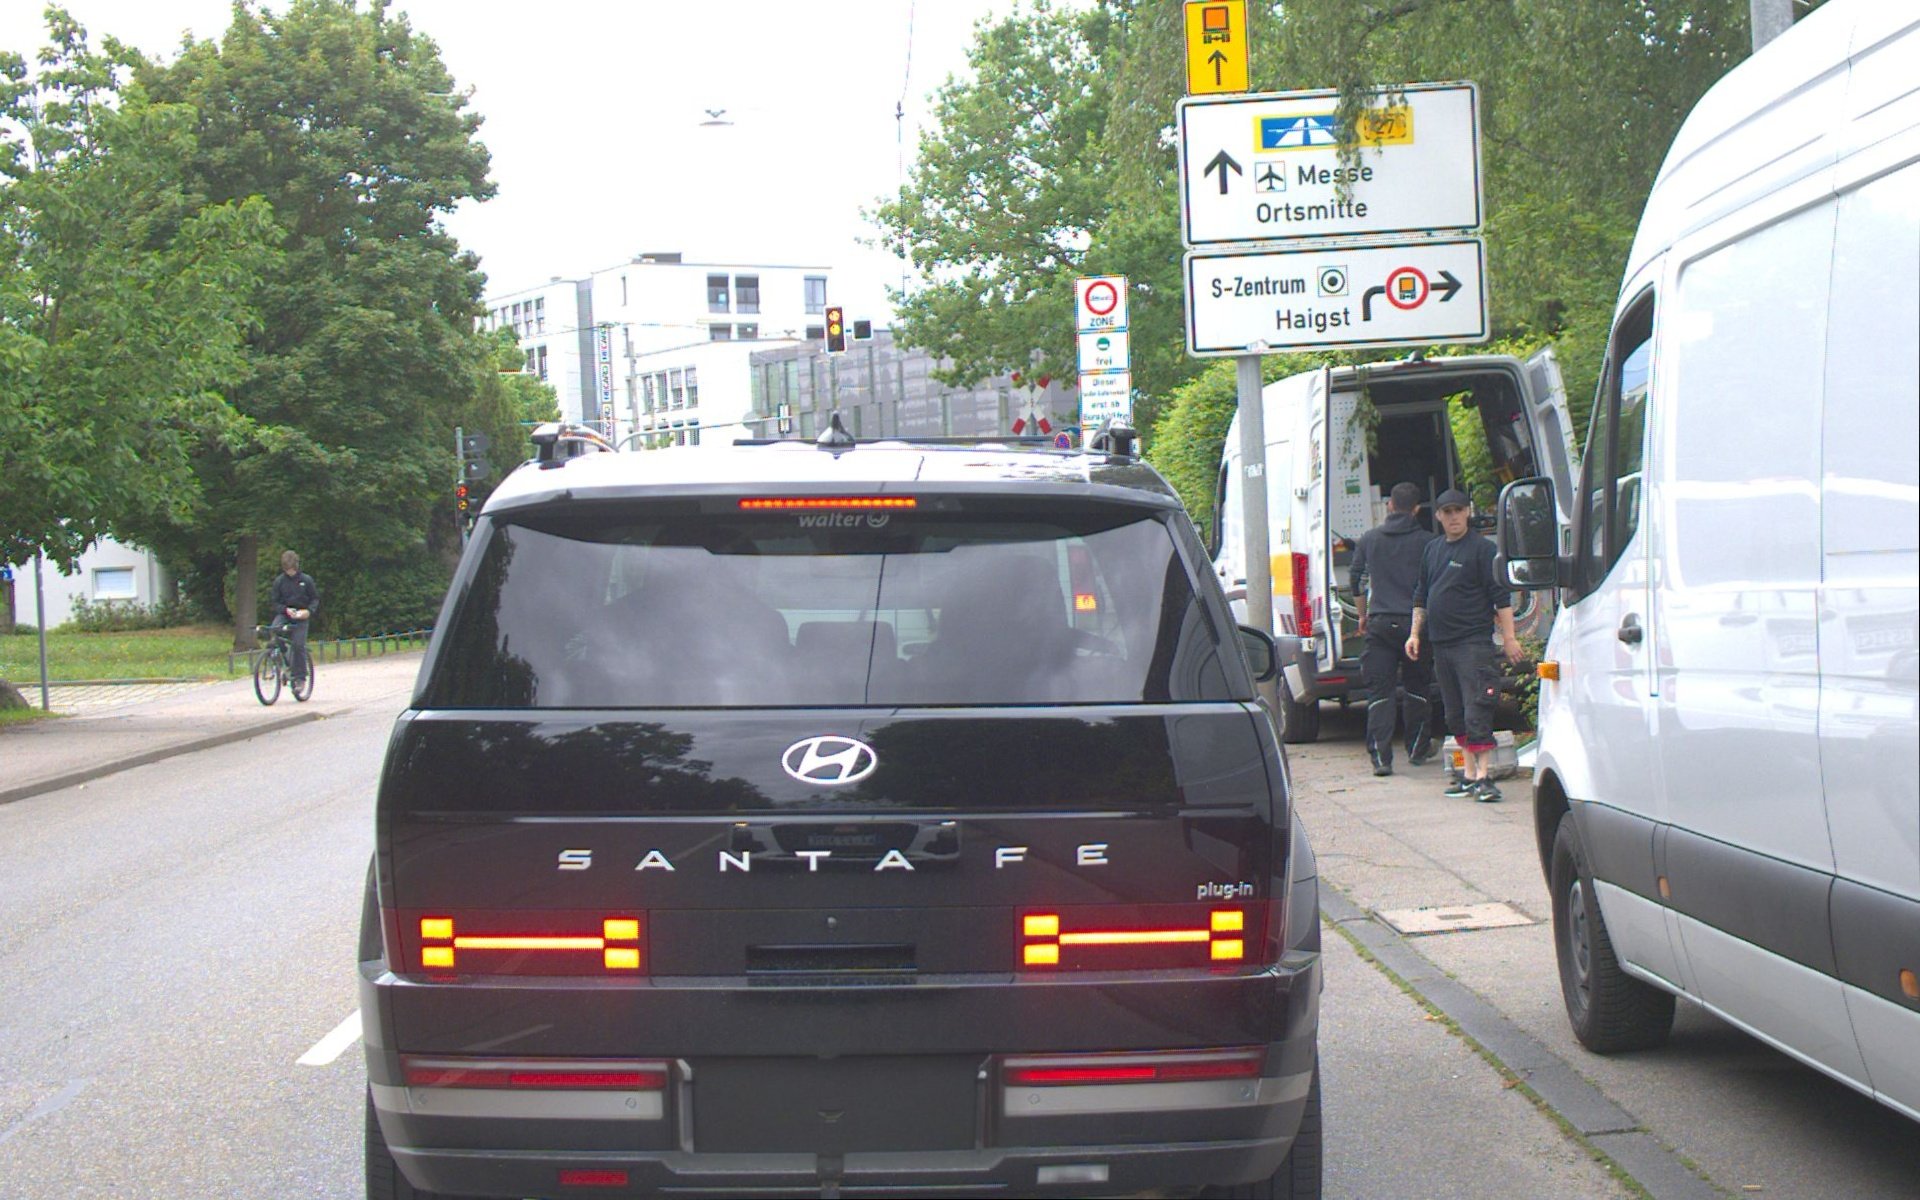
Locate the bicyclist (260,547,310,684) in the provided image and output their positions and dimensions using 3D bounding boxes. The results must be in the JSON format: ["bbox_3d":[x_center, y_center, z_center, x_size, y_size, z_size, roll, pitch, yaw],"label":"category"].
[{"bbox_3d":[-8.373,0.191,42.659,0.487,1.678,0.588,1,0,-1],"label":"bicyclist"}]

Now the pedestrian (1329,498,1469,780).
[{"bbox_3d":[2.657,0.231,20.871,0.736,1.638,0.801,-3,0,6],"label":"pedestrian"}]

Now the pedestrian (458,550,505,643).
[{"bbox_3d":[-9.070,-0.072,65.200,0.767,1.742,0.904,-1,0,-1],"label":"pedestrian"}]

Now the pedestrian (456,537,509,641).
[{"bbox_3d":[-9.387,-0.218,67.635,0.830,2.007,1.047,1,0,2],"label":"pedestrian"}]

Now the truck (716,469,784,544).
[{"bbox_3d":[-11.516,-5.056,187.954,3.107,3.846,9.623,-2,1,-6],"label":"truck"}]

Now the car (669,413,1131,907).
[{"bbox_3d":[-0.273,0.230,16.337,1.897,2.035,3.994,1,1,-1],"label":"car"}]

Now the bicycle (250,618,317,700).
[{"bbox_3d":[-8.378,0.725,42.603,0.495,0.961,1.748,1,1,-1],"label":"bicycle"}]

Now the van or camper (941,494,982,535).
[{"bbox_3d":[0.061,-4.272,172.476,1.795,1.992,3.824,1,1,-4],"label":"van or camper"}]

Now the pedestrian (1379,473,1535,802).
[{"bbox_3d":[2.669,0.197,18.525,0.750,1.715,0.791,-2,0,6],"label":"pedestrian"}]

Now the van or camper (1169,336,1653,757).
[{"bbox_3d":[3.087,-0.338,25.267,2.340,2.486,6.603,-5,0,-1],"label":"van or camper"}]

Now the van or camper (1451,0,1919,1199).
[{"bbox_3d":[2.601,-0.018,6.993,1.991,2.616,6.544,-5,1,-1],"label":"van or camper"}]

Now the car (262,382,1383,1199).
[{"bbox_3d":[-0.259,0.506,7.874,1.897,1.770,3.994,1,1,-1],"label":"car"}]

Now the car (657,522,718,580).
[{"bbox_3d":[-11.446,-2.062,144.215,2.332,2.307,4.959,-2,1,-6],"label":"car"}]

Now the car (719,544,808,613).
[{"bbox_3d":[-4.494,-0.502,79.050,1.756,1.398,4.414,-4,1,-1],"label":"car"}]
